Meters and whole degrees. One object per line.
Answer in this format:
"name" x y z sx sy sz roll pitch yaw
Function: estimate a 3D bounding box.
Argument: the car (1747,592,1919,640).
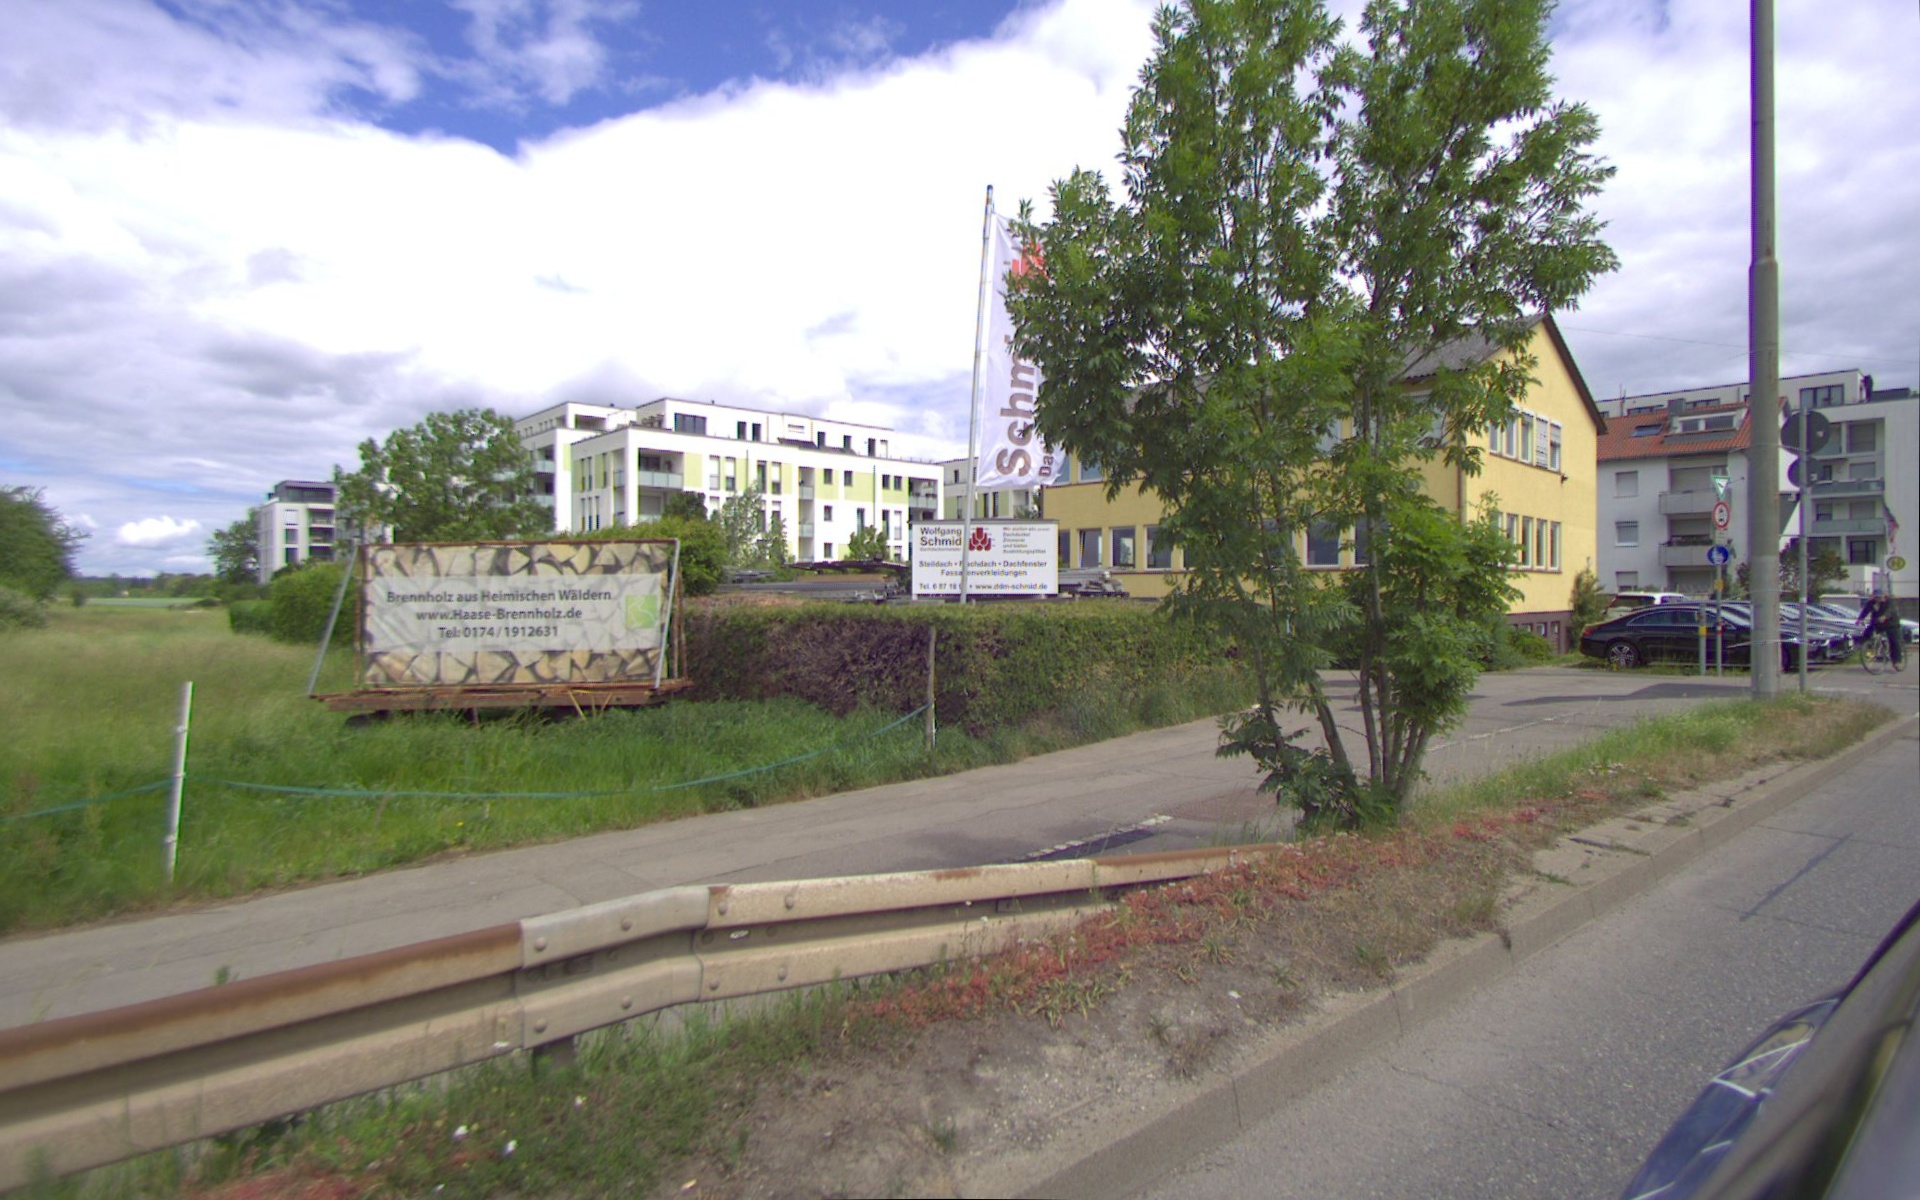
"car" 29.543 0.534 33.908 2.010 1.512 4.703 0 -1 -41

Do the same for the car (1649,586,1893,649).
"car" 21.197 0.480 26.640 1.979 1.513 4.685 0 -2 -39

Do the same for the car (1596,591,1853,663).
"car" 17.206 0.622 22.932 1.971 1.416 4.325 -2 0 -42

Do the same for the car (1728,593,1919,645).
"car" 27.435 0.582 32.026 1.999 1.512 4.666 0 0 -41

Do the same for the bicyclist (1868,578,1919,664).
"bicyclist" 19.189 0.407 20.762 0.874 1.696 0.639 0 3 -41

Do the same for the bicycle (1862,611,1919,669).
"bicycle" 19.079 0.796 20.716 1.943 1.076 0.639 0 3 -41

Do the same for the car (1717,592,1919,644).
"car" 25.402 0.541 30.033 1.955 1.422 4.373 0 -2 -42

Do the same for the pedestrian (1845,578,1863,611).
"pedestrian" 49.142 -0.327 55.606 0.490 1.788 0.509 -2 -1 -24

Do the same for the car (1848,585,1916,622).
"car" 41.742 0.134 45.789 4.444 1.564 1.878 0 1 -42

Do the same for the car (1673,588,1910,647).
"car" 23.142 0.520 28.358 1.995 1.499 4.809 0 -2 -39

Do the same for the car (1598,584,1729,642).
"car" 24.869 0.396 35.751 4.931 1.844 1.984 -2 1 -31

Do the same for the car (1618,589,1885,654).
"car" 19.314 0.546 24.903 2.002 1.449 4.860 0 -2 -40
